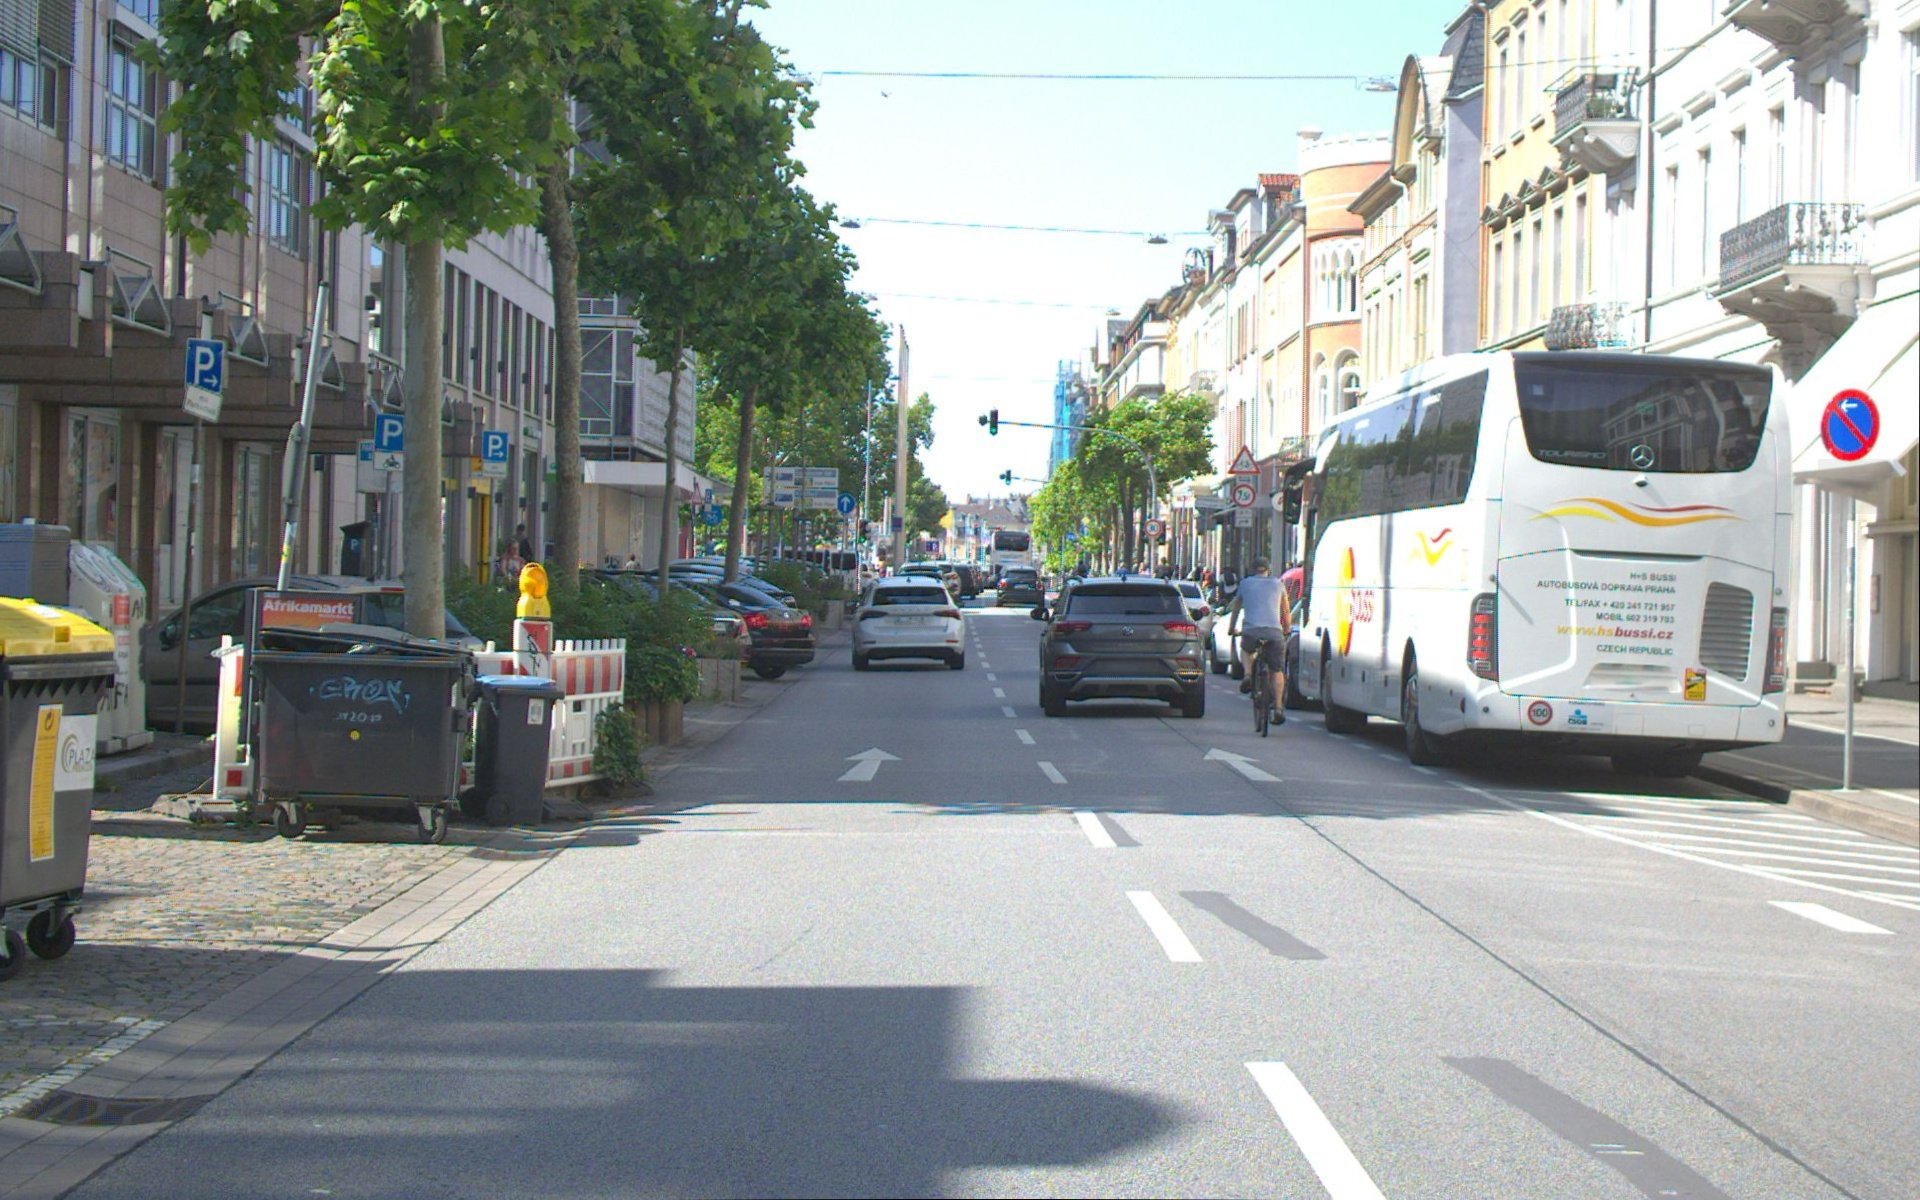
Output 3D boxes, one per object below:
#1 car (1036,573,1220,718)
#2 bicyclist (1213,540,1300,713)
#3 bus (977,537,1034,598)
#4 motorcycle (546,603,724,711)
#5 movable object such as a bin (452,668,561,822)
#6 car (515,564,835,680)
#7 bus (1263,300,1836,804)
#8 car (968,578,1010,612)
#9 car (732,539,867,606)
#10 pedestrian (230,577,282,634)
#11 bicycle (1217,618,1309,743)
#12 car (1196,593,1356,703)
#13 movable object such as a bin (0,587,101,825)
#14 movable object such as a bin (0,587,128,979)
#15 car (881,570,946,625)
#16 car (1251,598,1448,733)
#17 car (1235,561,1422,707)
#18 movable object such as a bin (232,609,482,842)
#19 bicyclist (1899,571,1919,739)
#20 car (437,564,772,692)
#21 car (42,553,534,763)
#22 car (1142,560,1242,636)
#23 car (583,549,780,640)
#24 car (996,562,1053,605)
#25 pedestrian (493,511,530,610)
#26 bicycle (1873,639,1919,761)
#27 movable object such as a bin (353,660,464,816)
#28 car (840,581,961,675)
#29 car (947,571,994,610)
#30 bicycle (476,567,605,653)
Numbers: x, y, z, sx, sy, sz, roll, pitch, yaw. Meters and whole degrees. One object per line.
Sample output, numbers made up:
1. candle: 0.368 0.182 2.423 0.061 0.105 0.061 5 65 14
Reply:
1. car: 1.856 0.479 39.073 1.833 1.522 4.000 1 0 0
2. bicyclist: 2.976 0.252 34.612 0.694 1.668 0.915 4 1 1
3. bus: 2.763 -2.009 211.581 2.770 3.593 8.975 2 0 -3
4. motorcycle: -3.850 0.669 40.690 1.912 1.166 0.759 3 1 21
5. movable object such as a bin: -2.885 0.914 21.839 0.553 0.936 0.500 0 1 -26
6. car: -4.310 0.312 51.521 4.793 1.418 1.878 4 1 40
7. bus: 5.136 -0.398 32.946 2.881 3.729 12.427 4 0 -1
8. car: 1.345 -0.210 160.033 1.863 1.436 4.000 1 -2 -1
9. car: -5.911 -1.012 126.469 4.720 1.997 1.937 6 0 40
10. pedestrian: -10.834 0.086 52.920 0.566 0.806 0.774 7 0 0
11. bicycle: 3.013 0.782 34.378 0.664 1.116 2.243 4 1 0
12. car: 4.943 0.721 54.327 1.813 1.461 4.581 4 1 -3
13. movable object such as a bin: -5.812 0.584 20.152 1.209 1.295 1.080 4 1 0
14. movable object such as a bin: -4.121 0.677 13.595 1.124 1.446 1.438 4 1 6
15. car: -1.293 -0.085 96.224 1.743 1.436 4.000 2 0 -1
16. car: 4.833 0.777 43.330 1.859 1.465 5.225 4 0 1
17. car: 5.182 0.440 48.866 1.827 1.857 4.355 4 1 -4
18. movable object such as a bin: -3.547 0.727 20.311 1.277 1.295 0.853 2 0 0
19. bicyclist: 9.012 0.509 31.274 0.620 1.524 0.869 2 0 -2
20. car: -5.068 0.384 48.549 4.754 1.528 1.985 3 1 42
21. car: -5.707 0.453 28.972 4.055 1.489 1.931 4 1 41
22. car: 4.944 -0.018 73.647 1.833 1.522 4.000 0 -1 -1
23. car: -5.883 -0.128 72.877 3.986 1.495 1.717 6 0 -4
24. car: 2.277 -0.594 122.323 1.863 1.436 4.000 2 0 -1
25. pedestrian: -7.596 -0.665 58.204 0.565 1.651 0.636 2 0 -6
26. bicycle: 8.992 0.924 31.320 0.620 1.095 2.353 2 0 -2
27. movable object such as a bin: -3.461 0.860 21.595 0.499 0.936 0.555 1 1 16
28. car: -0.976 0.444 55.724 1.863 1.436 4.000 1 0 -1
29. car: 0.425 -0.387 141.146 1.863 1.436 4.000 1 -2 -1
30. bicycle: -7.067 0.171 57.953 2.064 1.284 0.368 5 -1 -7
